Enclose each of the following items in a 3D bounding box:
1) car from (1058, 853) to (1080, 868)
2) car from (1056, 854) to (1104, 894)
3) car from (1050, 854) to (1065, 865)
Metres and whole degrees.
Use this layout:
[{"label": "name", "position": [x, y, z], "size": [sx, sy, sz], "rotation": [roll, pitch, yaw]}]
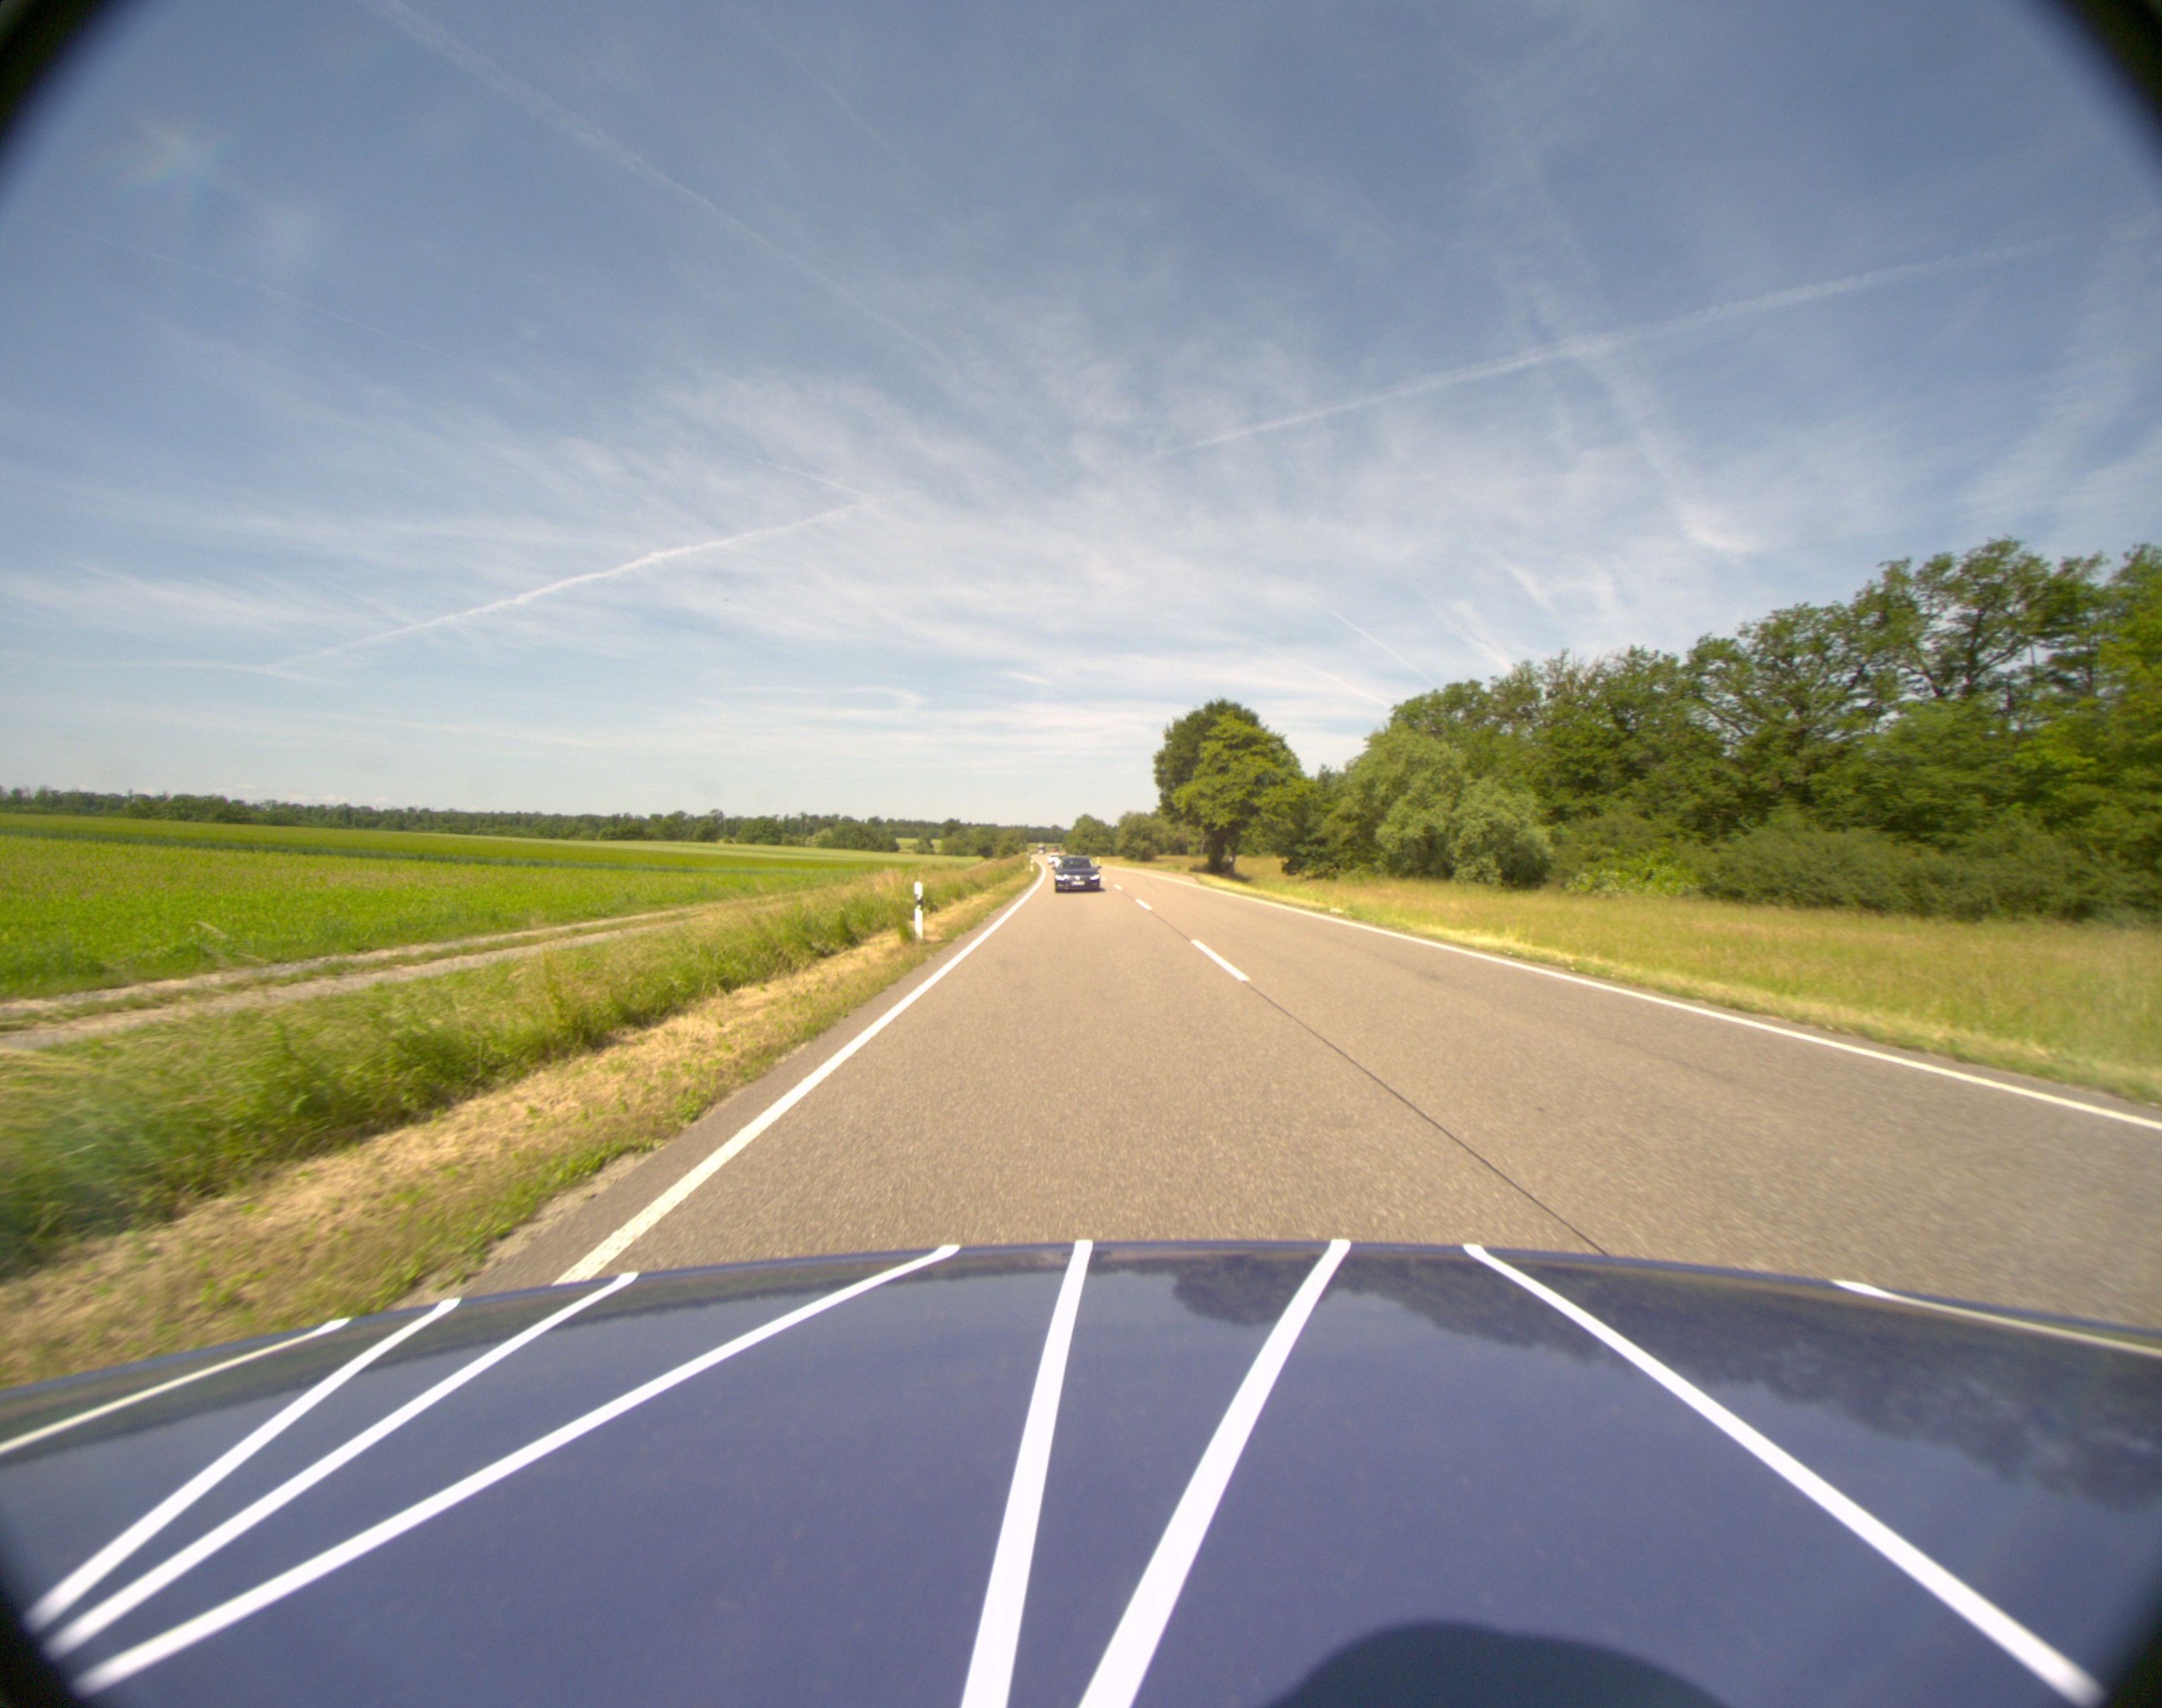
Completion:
[{"label": "car", "position": [-1.269, 0.631, 77.555], "size": [1.929, 1.501, 4.289], "rotation": [0, 0, -5]}, {"label": "car", "position": [-0.112, 0.767, 32.104], "size": [1.822, 1.501, 4.499], "rotation": [-2, 0, -2]}, {"label": "car", "position": [-3.366, 0.741, 108.380], "size": [1.929, 1.501, 4.289], "rotation": [1, 0, -5]}]
